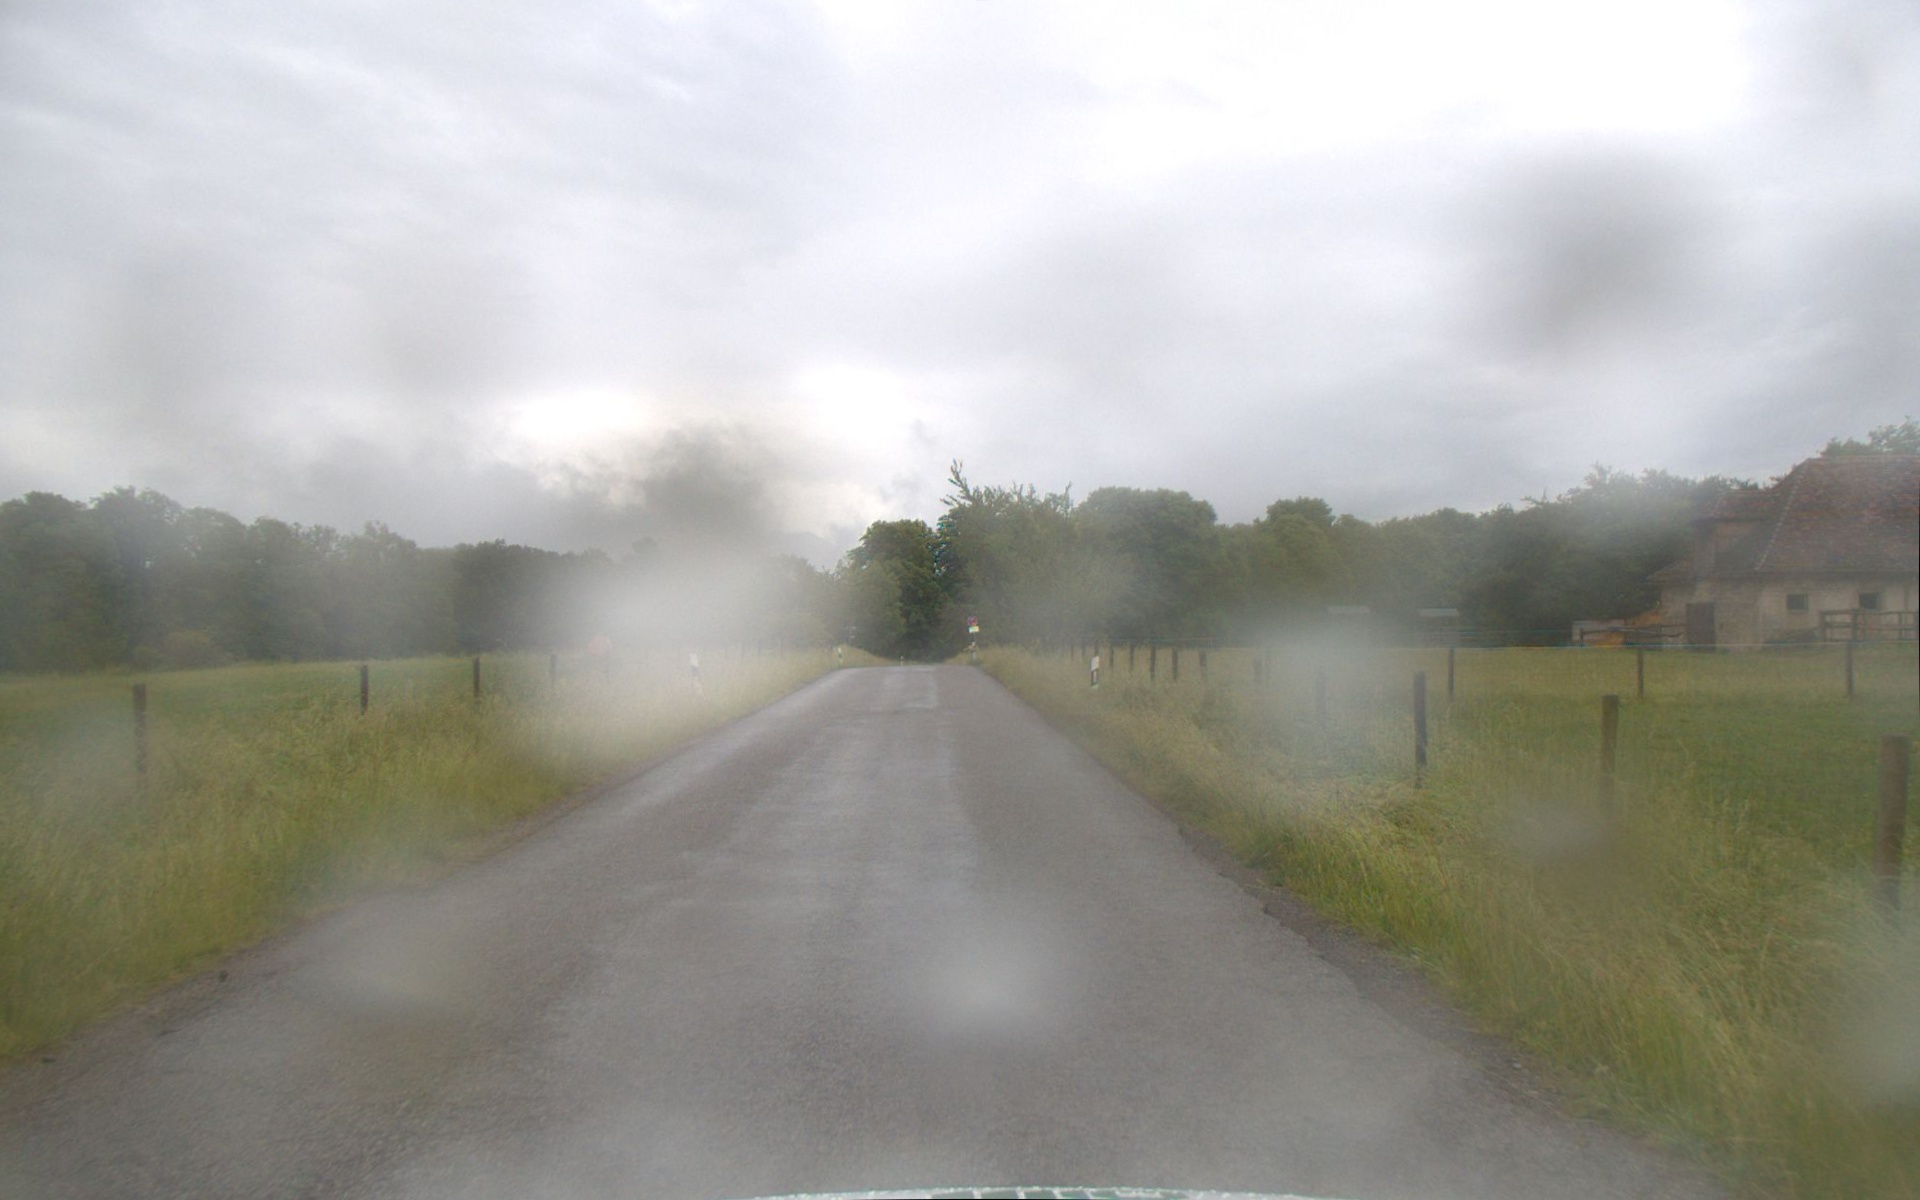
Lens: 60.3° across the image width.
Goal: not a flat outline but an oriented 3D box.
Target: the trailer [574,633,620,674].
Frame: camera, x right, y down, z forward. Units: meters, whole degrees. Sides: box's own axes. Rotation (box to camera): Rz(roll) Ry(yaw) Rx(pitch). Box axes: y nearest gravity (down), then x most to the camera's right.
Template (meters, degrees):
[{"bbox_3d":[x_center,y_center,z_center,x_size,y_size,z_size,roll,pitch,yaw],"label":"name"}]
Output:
[{"bbox_3d":[-14.570,2.136,66.526,1.720,1.531,3.081,-1,-1,-12],"label":"trailer"}]
